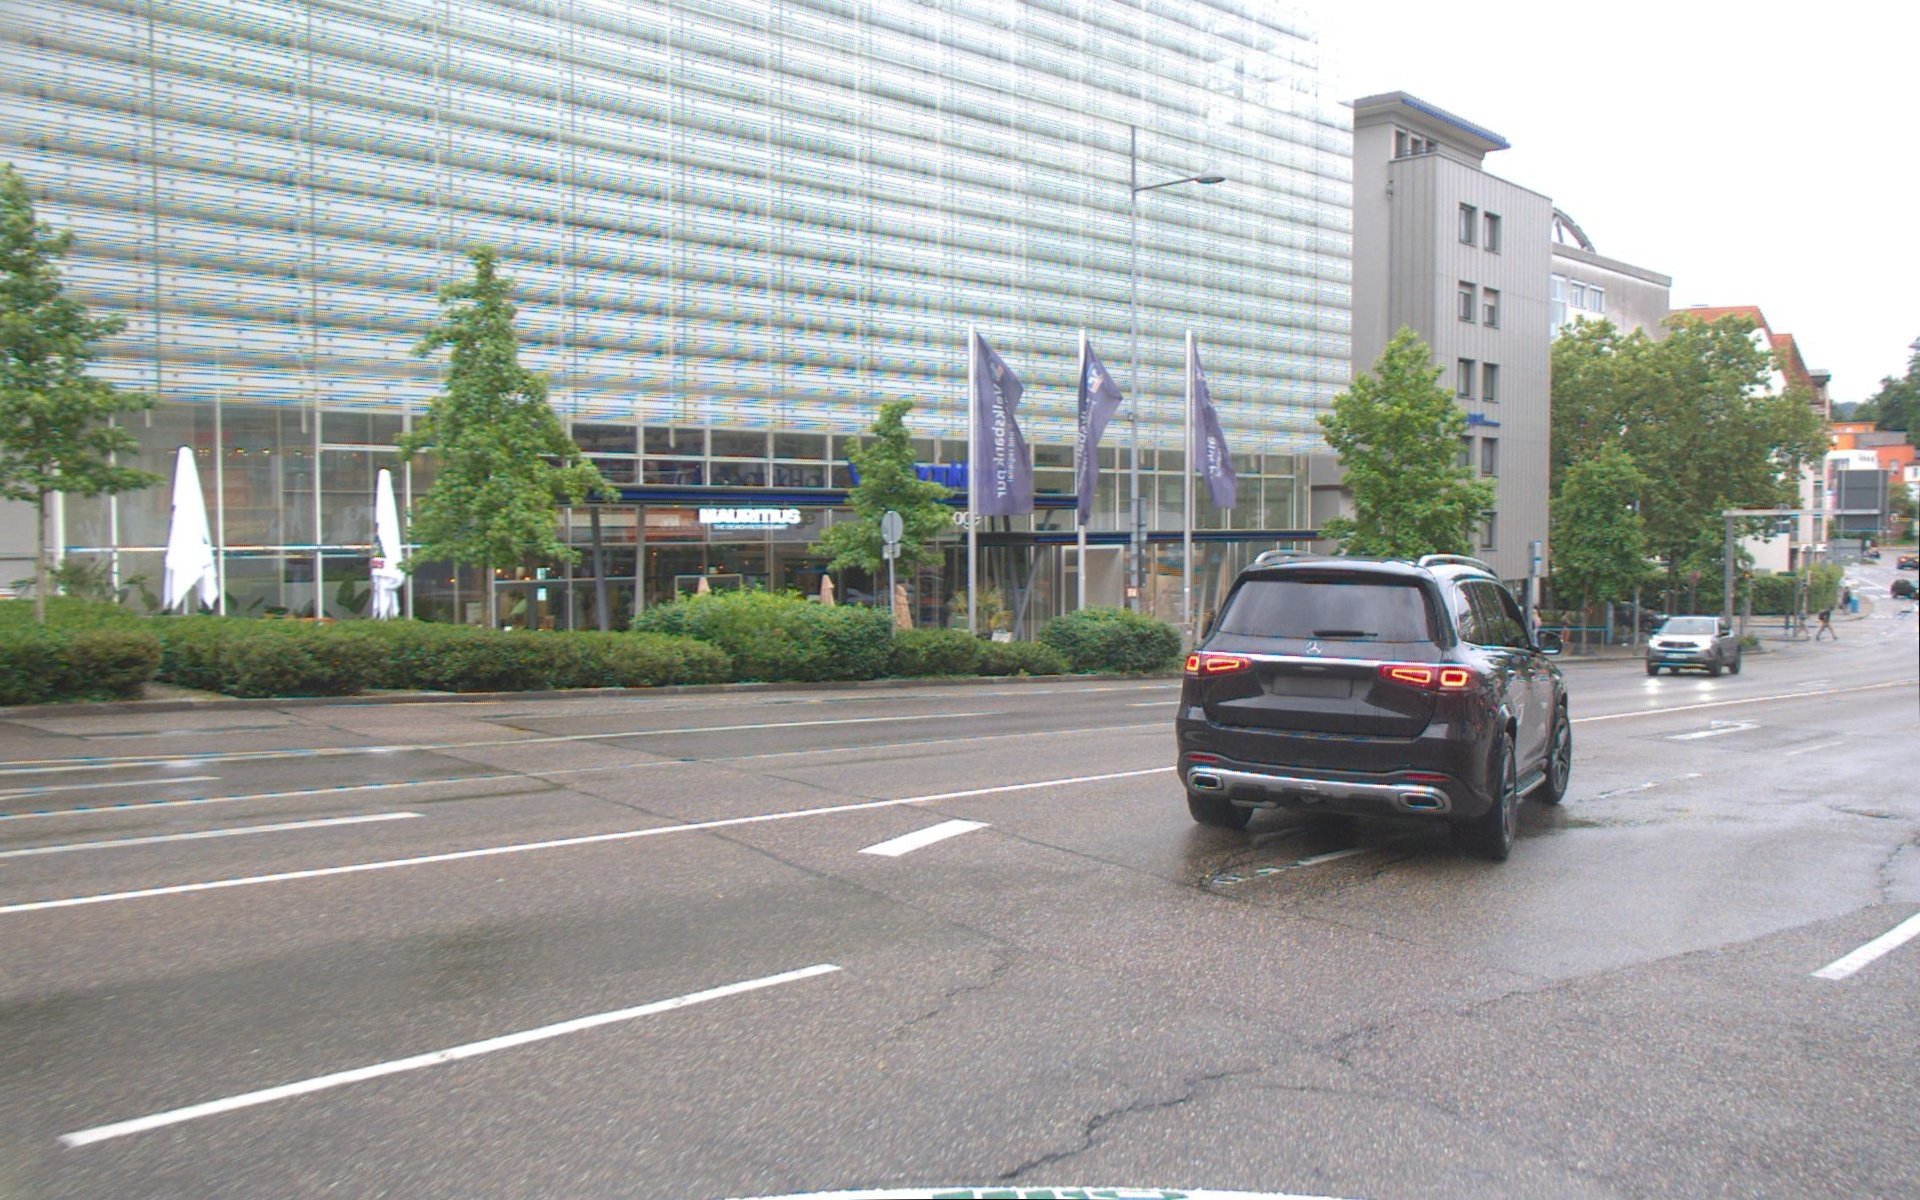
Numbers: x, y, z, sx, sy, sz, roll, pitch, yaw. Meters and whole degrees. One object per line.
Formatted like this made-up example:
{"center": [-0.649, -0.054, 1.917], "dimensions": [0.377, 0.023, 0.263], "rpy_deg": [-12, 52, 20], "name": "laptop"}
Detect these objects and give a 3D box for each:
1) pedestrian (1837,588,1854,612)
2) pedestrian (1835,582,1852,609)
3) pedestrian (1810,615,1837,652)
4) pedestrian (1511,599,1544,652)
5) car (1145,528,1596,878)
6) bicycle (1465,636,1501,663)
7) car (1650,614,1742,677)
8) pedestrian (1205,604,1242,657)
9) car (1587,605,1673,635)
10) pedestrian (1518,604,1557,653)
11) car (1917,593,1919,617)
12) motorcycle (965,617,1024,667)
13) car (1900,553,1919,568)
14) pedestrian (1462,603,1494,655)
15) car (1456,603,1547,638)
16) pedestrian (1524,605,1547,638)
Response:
{"center": [60.575, 0.019, 113.150], "dimensions": [0.904, 1.636, 0.563], "rpy_deg": [1, 0, -3], "name": "pedestrian"}
{"center": [61.261, -0.291, 114.677], "dimensions": [0.884, 1.834, 0.627], "rpy_deg": [1, 0, -3], "name": "pedestrian"}
{"center": [45.799, 1.780, 87.730], "dimensions": [1.049, 1.915, 0.832], "rpy_deg": [0, 0, 45], "name": "pedestrian"}
{"center": [19.192, 0.850, 55.899], "dimensions": [0.800, 1.743, 1.310], "rpy_deg": [1, 0, 31], "name": "pedestrian"}
{"center": [3.113, 0.558, 11.623], "dimensions": [2.047, 1.848, 4.788], "rpy_deg": [3, 1, 26], "name": "car"}
{"center": [22.474, 2.123, 71.069], "dimensions": [0.602, 1.105, 2.659], "rpy_deg": [2, 1, 37], "name": "bicycle"}
{"center": [19.503, 1.174, 43.736], "dimensions": [1.806, 1.579, 4.086], "rpy_deg": [-1, -1, 30], "name": "car"}
{"center": [7.363, 0.844, 46.243], "dimensions": [0.838, 1.482, 0.643], "rpy_deg": [1, 0, -45], "name": "pedestrian"}
{"center": [39.560, 1.173, 97.634], "dimensions": [4.502, 1.508, 1.940], "rpy_deg": [4, 1, 26], "name": "car"}
{"center": [20.967, 1.022, 60.029], "dimensions": [1.082, 1.753, 0.960], "rpy_deg": [1, 0, -45], "name": "pedestrian"}
{"center": [63.046, 0.345, 107.206], "dimensions": [1.675, 1.476, 3.853], "rpy_deg": [2, 1, 30], "name": "car"}
{"center": [0.958, 1.158, 46.306], "dimensions": [0.763, 1.318, 1.527], "rpy_deg": [1, 0, -44], "name": "motorcycle"}
{"center": [108.952, -4.541, 189.688], "dimensions": [1.715, 1.581, 3.565], "rpy_deg": [2, 1, 27], "name": "car"}
{"center": [17.597, 0.977, 56.201], "dimensions": [0.972, 1.753, 1.039], "rpy_deg": [1, 0, 20], "name": "pedestrian"}
{"center": [32.938, 1.228, 100.651], "dimensions": [4.973, 1.789, 1.998], "rpy_deg": [4, 1, 26], "name": "car"}
{"center": [30.827, 1.151, 88.586], "dimensions": [0.942, 1.753, 0.749], "rpy_deg": [1, 0, -39], "name": "pedestrian"}
